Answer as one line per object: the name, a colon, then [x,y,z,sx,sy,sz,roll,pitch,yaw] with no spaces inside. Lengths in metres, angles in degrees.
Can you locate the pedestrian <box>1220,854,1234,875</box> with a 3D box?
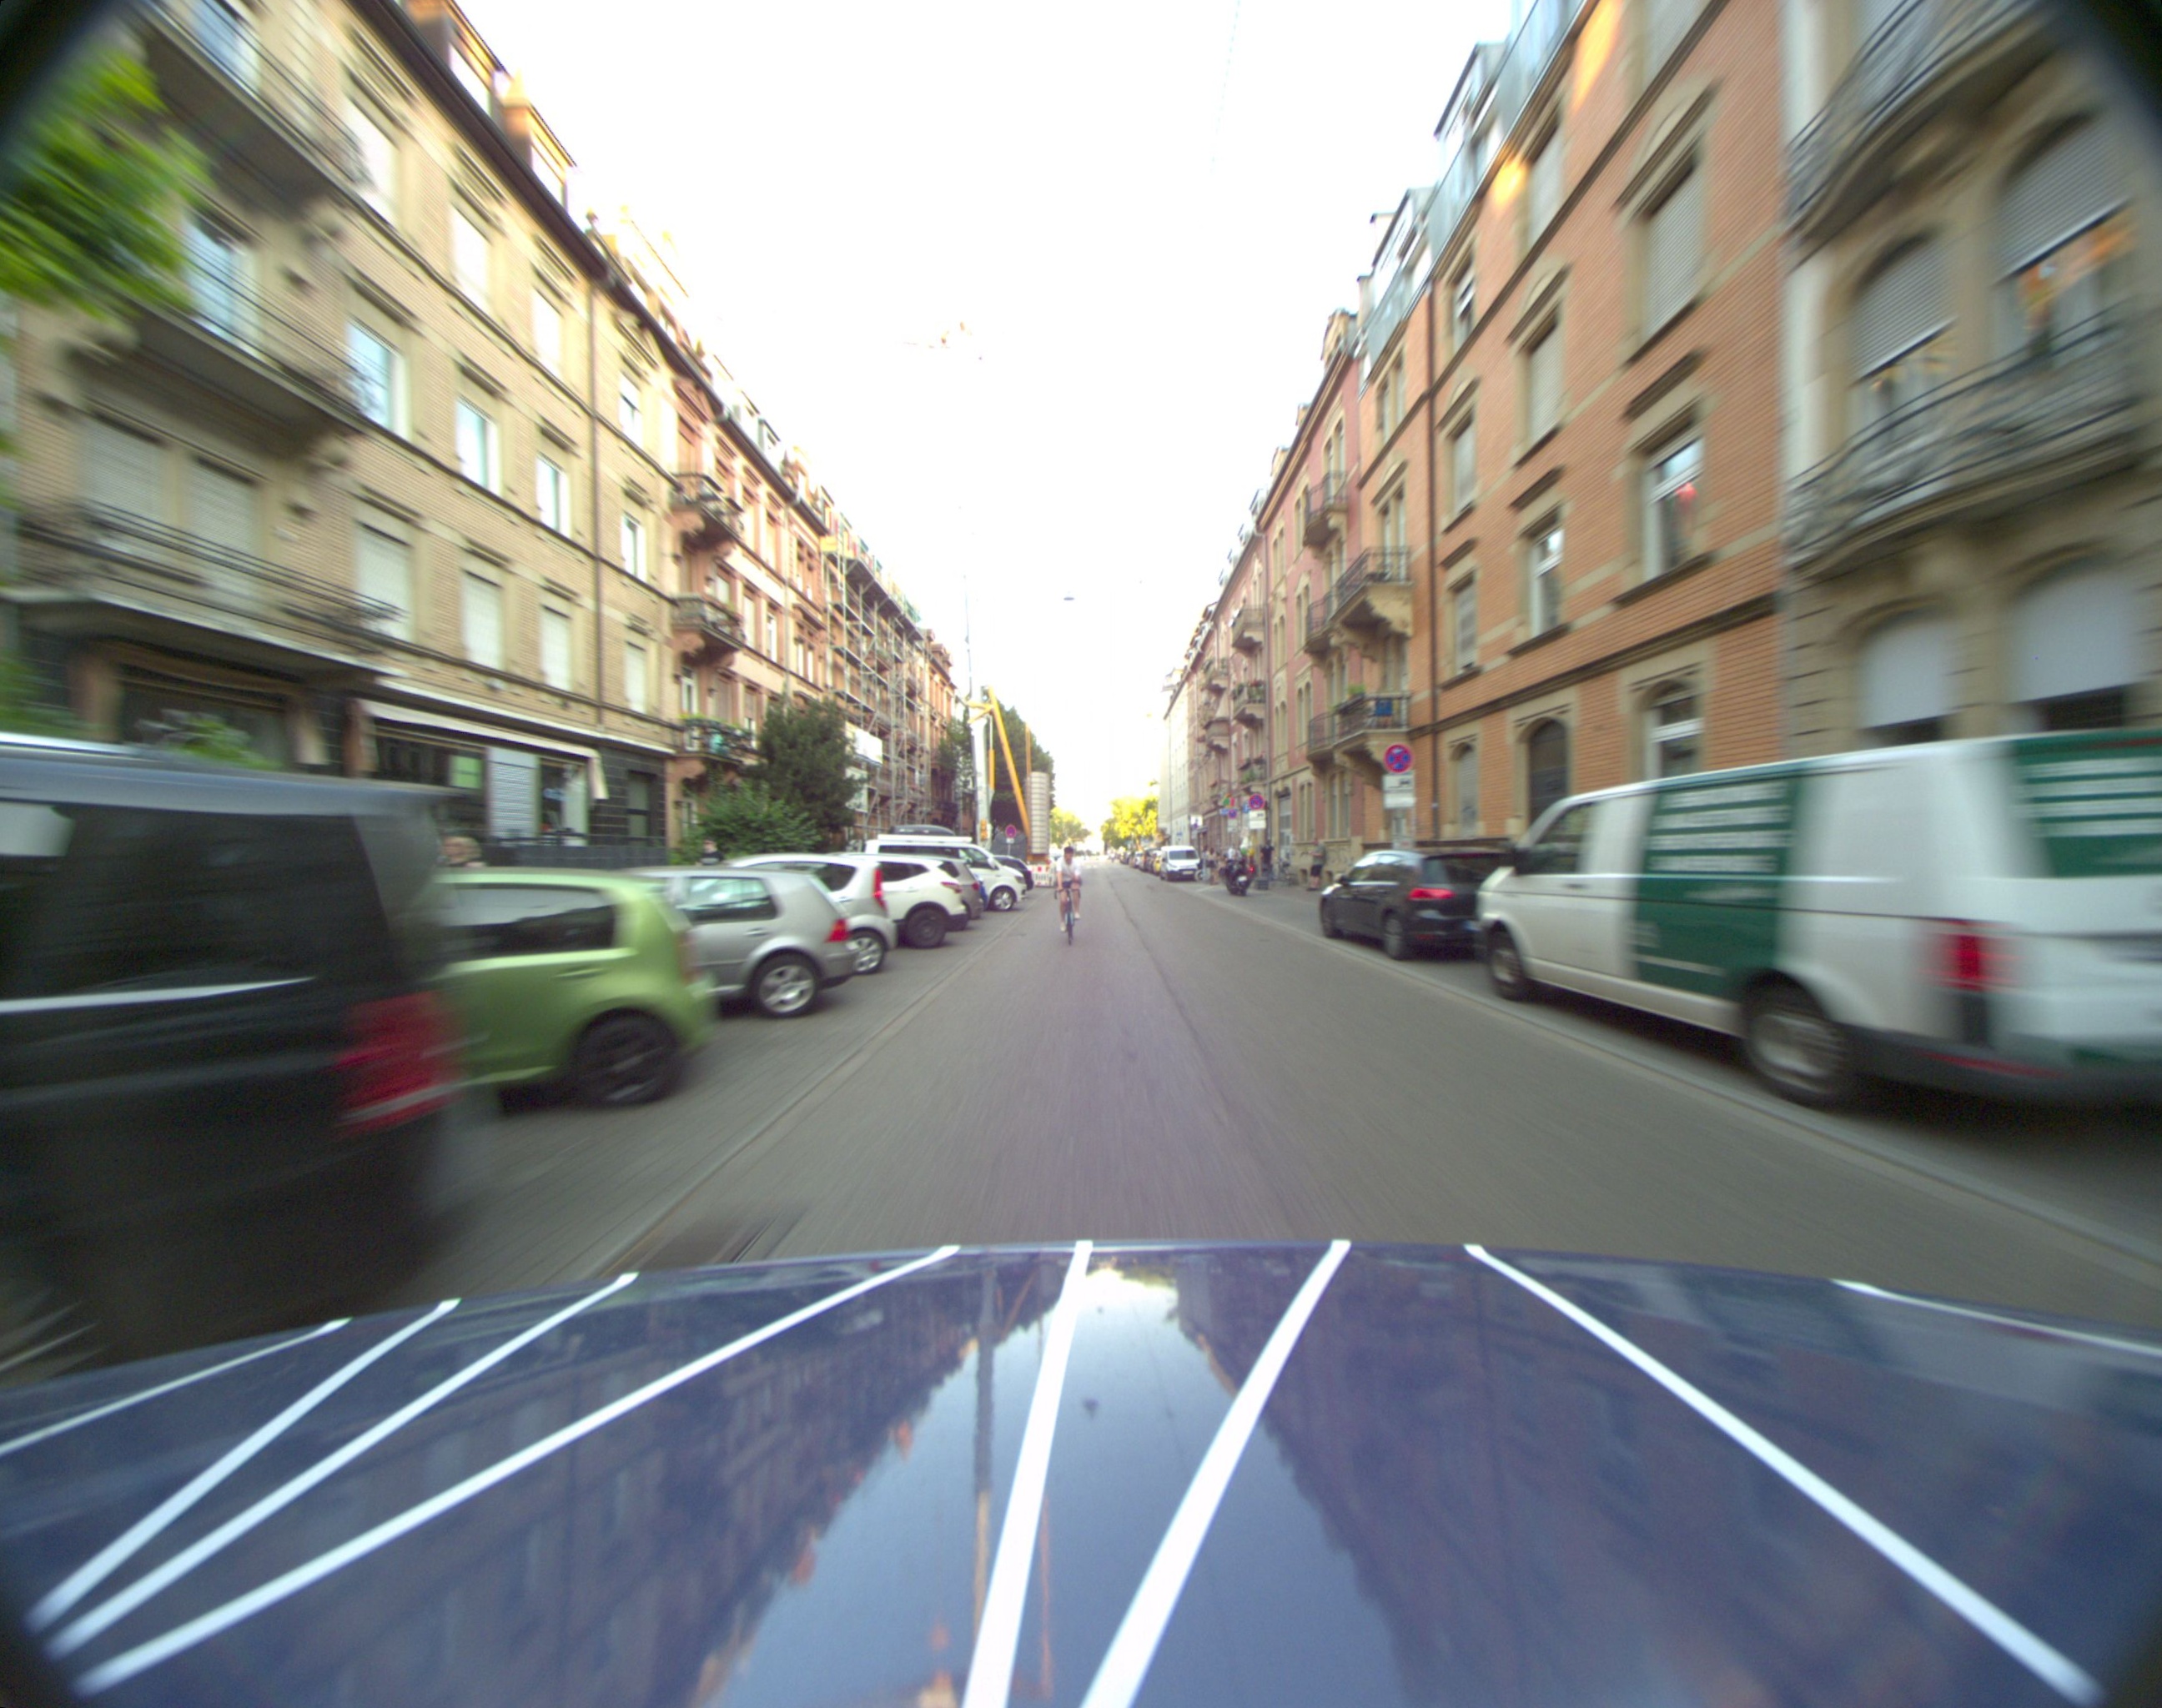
pedestrian: [7.915,0.567,41.264,0.633,1.133,0.573,-2,1,0]

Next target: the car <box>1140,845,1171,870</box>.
car: [5.822,0.264,59.616,1.932,1.872,4.905,-1,0,1]

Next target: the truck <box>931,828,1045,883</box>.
truck: [-5.687,0.091,47.122,6.494,3.059,2.525,-2,1,5]

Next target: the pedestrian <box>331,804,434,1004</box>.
pedestrian: [-7.345,0.495,8.025,0.626,2.002,0.654,-3,2,-35]

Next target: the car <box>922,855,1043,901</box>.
car: [-3.500,0.802,26.880,3.872,1.507,1.844,0,0,-24]

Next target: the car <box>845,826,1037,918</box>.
car: [-3.922,0.445,21.328,4.945,2.348,1.996,0,0,-25]

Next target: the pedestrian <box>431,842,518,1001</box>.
pedestrian: [-6.751,0.715,8.490,0.626,1.671,0.654,-3,2,-33]

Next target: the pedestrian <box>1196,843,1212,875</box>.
pedestrian: [6.745,0.296,41.560,0.619,1.720,0.586,-1,2,29]

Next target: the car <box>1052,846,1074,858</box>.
car: [-3.705,-0.356,156.873,4.202,2.280,1.673,1,1,-38]

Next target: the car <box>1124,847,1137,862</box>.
car: [6.830,0.055,105.098,1.785,1.860,4.457,-2,1,3]

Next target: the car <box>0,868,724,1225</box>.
car: [-4.532,0.908,4.609,4.116,1.542,1.814,2,0,-30]

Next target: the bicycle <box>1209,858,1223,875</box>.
bicycle: [8.172,0.733,46.043,0.357,0.940,1.994,-2,1,-2]

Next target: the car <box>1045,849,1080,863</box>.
car: [-2.156,0.285,88.767,3.841,1.510,1.673,1,1,-31]

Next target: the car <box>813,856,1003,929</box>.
car: [-4.195,0.841,18.465,4.172,1.581,1.882,0,0,-27]

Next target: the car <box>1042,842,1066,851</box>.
car: [-4.644,-1.250,130.638,3.840,1.510,1.674,1,1,-27]

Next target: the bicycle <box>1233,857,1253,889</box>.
bicycle: [6.271,0.721,29.439,0.412,1.153,1.838,-2,1,2]

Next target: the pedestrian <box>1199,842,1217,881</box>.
pedestrian: [6.039,0.362,36.146,0.600,1.804,0.720,-2,1,-7]

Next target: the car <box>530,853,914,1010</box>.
car: [-4.444,0.841,9.673,4.117,1.581,1.813,2,0,-36]

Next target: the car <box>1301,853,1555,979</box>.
car: [4.814,0.748,11.298,1.841,1.462,4.172,-1,0,-1]

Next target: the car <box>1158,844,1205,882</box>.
car: [5.181,0.410,39.647,1.775,1.778,4.586,-2,1,0]

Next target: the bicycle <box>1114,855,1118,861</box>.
bicycle: [5.708,0.612,124.345,0.477,0.938,1.896,-2,1,0]

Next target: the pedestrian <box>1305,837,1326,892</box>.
pedestrian: [7.793,0.343,25.252,0.464,1.779,0.642,-2,1,5]

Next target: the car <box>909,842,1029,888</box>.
car: [-5.069,0.500,34.961,5.186,1.944,1.899,1,0,0]

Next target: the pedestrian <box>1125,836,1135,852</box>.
pedestrian: [8.419,-1.683,130.428,1.445,2.725,1.012,-2,1,0]

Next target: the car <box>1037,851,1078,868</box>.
car: [-2.413,0.569,78.112,3.841,1.557,1.673,1,1,-29]

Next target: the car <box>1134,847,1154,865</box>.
car: [6.134,0.209,74.190,1.730,1.638,3.916,-2,0,1]

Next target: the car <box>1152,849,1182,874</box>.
car: [5.620,0.477,49.790,1.709,1.521,3.793,-1,0,3]

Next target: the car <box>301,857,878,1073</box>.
car: [-4.261,0.859,7.283,4.116,1.542,1.814,2,0,-30]

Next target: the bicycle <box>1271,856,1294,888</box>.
bicycle: [7.684,0.671,29.045,0.412,1.153,1.838,-2,1,2]

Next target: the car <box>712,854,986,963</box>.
car: [-3.895,0.852,12.871,4.116,1.581,1.814,2,0,-29]

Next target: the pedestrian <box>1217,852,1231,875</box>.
pedestrian: [7.896,0.529,42.107,0.620,1.244,0.585,-2,1,0]

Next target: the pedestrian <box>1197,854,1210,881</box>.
pedestrian: [5.937,0.658,36.889,0.479,1.244,0.652,-2,1,2]

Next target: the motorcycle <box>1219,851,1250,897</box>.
motorcycle: [5.015,0.636,24.930,0.686,1.397,2.014,-2,1,4]

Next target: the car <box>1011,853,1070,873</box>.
car: [-3.083,0.707,58.143,4.178,1.480,1.826,1,0,-35]

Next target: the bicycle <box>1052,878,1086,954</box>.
bicycle: [-0.193,1.054,13.462,0.520,1.148,1.782,-2,1,0]

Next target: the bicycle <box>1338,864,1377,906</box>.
bicycle: [7.440,0.802,20.483,0.449,1.024,1.740,-2,1,2]

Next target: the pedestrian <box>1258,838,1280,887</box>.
pedestrian: [7.145,0.307,28.920,0.683,1.800,0.962,-2,1,9]

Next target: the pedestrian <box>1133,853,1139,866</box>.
pedestrian: [5.728,0.526,79.074,0.571,1.315,0.496,-2,1,0]

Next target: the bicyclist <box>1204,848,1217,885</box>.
bicyclist: [5.657,0.533,33.186,0.466,1.581,0.487,-2,1,5]

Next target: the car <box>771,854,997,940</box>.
car: [-4.060,0.848,15.796,4.174,1.581,1.881,2,-1,-29]

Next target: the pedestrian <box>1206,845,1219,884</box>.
pedestrian: [5.825,0.448,33.695,0.419,1.699,0.350,-2,1,-4]

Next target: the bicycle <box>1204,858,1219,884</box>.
bicycle: [5.648,0.732,33.000,0.466,1.062,1.520,-2,1,5]

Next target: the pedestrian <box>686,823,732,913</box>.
pedestrian: [-7.421,0.271,15.171,0.687,1.740,0.825,1,2,-18]

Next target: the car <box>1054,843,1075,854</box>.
car: [-3.560,-1.196,165.302,4.201,2.246,1.673,1,1,-34]

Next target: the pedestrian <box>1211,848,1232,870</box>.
pedestrian: [7.895,0.279,42.697,1.041,1.196,0.503,-2,1,-1]

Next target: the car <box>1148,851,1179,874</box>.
car: [5.845,0.576,54.311,1.932,1.587,3.970,-1,0,3]

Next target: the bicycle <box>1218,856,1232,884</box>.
bicycle: [6.370,0.699,33.706,0.466,1.148,2.001,-2,1,8]

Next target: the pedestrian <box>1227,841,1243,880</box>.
pedestrian: [7.293,0.314,36.014,0.598,1.804,0.721,-2,1,20]

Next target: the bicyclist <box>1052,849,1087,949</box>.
bicyclist: [-0.203,0.775,13.514,0.528,1.694,0.789,-2,1,-1]

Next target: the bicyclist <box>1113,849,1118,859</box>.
bicyclist: [5.675,0.002,124.243,0.624,1.682,1.003,-2,1,0]

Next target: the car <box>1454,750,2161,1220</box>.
car: [4.743,0.510,5.498,1.841,1.910,4.846,-1,1,2]

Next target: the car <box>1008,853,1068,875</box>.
car: [-3.111,0.737,55.158,4.003,1.480,1.680,1,0,-33]

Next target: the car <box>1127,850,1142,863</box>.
car: [7.022,0.284,100.117,1.785,1.537,4.000,-2,1,3]

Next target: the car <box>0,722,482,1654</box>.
car: [-4.530,0.679,1.267,5.448,2.060,1.928,2,0,-37]

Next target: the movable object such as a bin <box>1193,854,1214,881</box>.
movable object such as a bin: [5.937,0.659,36.830,0.889,1.244,0.776,-2,1,2]
